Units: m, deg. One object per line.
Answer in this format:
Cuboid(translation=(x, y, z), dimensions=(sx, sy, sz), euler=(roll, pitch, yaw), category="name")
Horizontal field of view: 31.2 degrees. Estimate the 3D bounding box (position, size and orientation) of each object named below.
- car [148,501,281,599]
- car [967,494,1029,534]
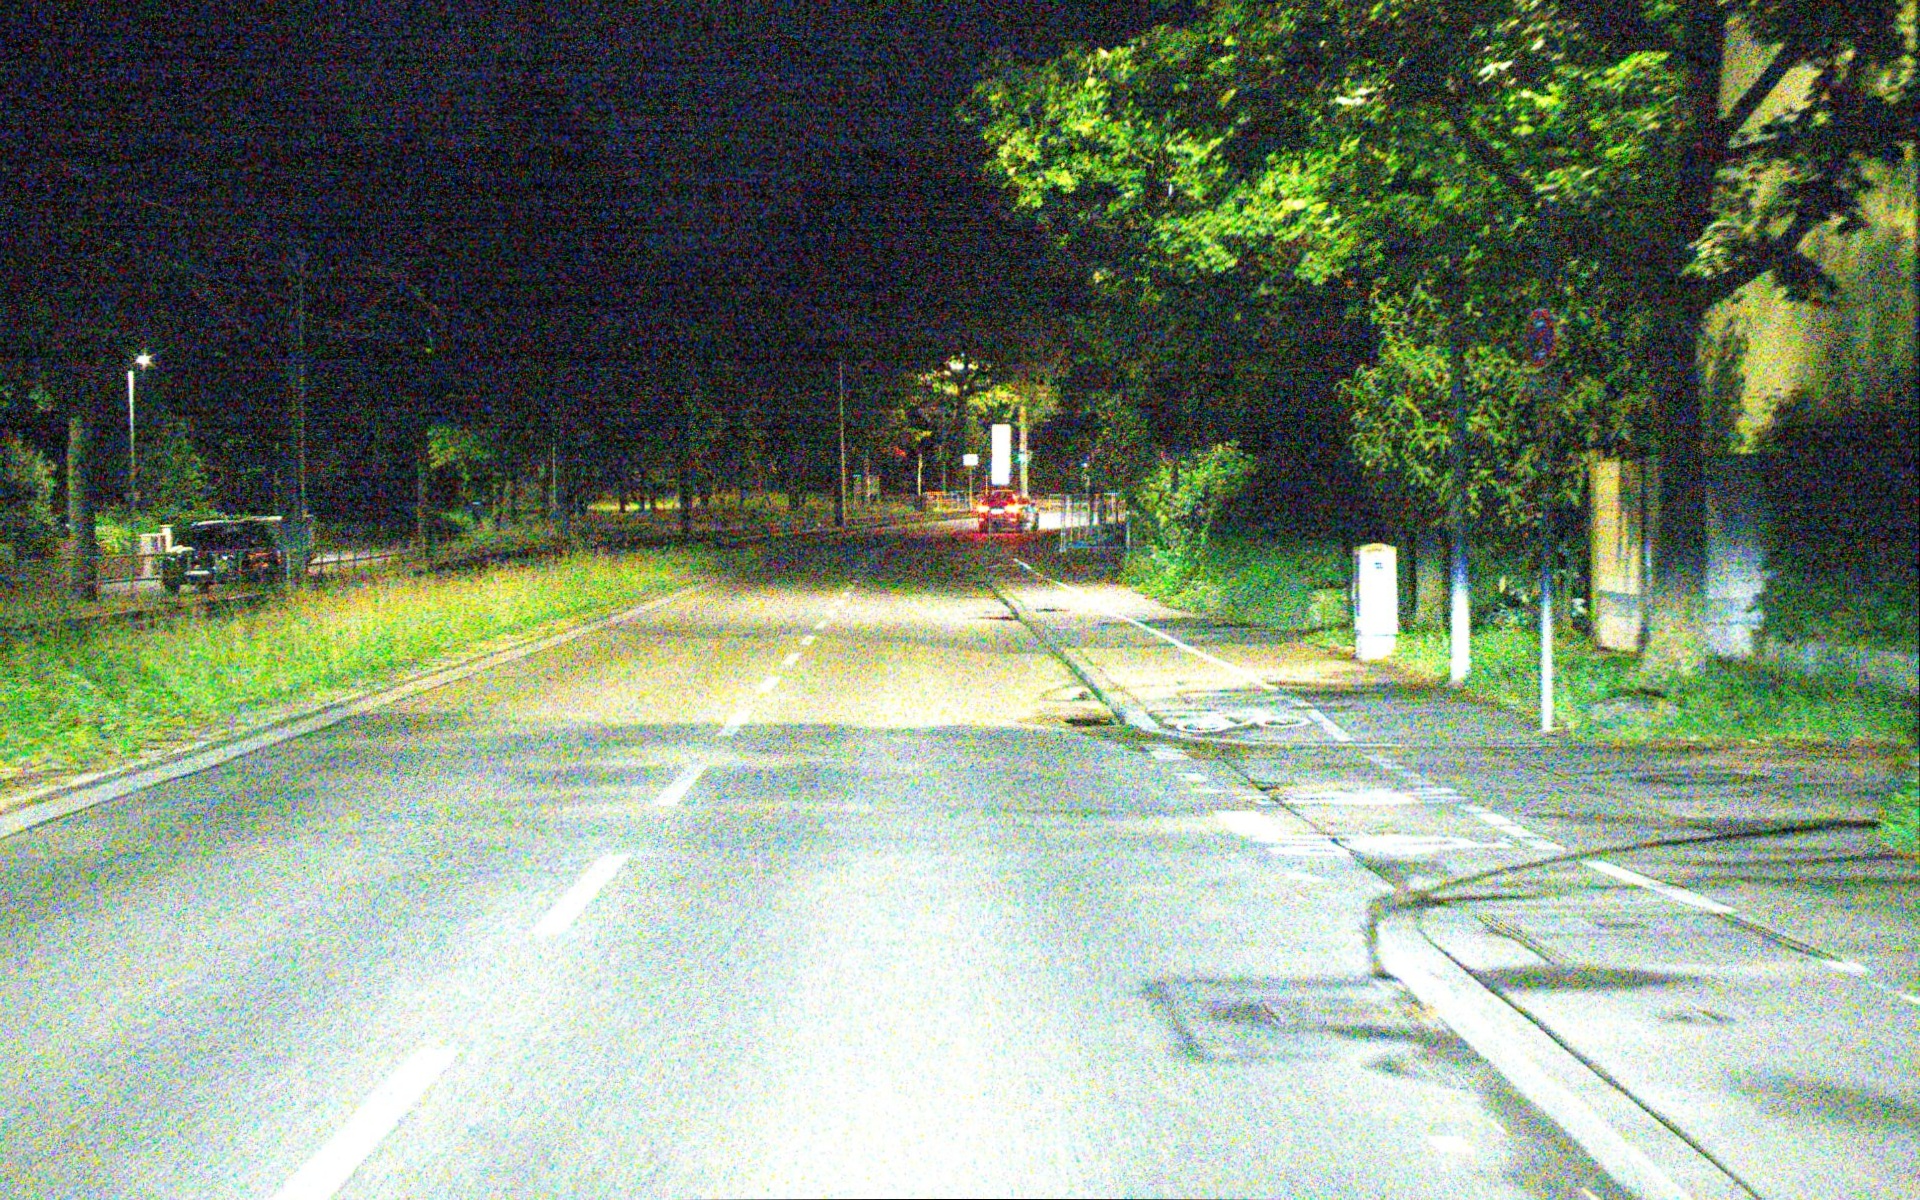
Cuboid(translation=(-16.906, -1.164, 78.150), dimensions=(2.091, 2.006, 4.001), euler=(-5, 2, -2), category="car")
Cuboid(translation=(1.575, -3.519, 140.789), dimensions=(2.162, 1.577, 4.012), euler=(0, 1, 6), category="car")
